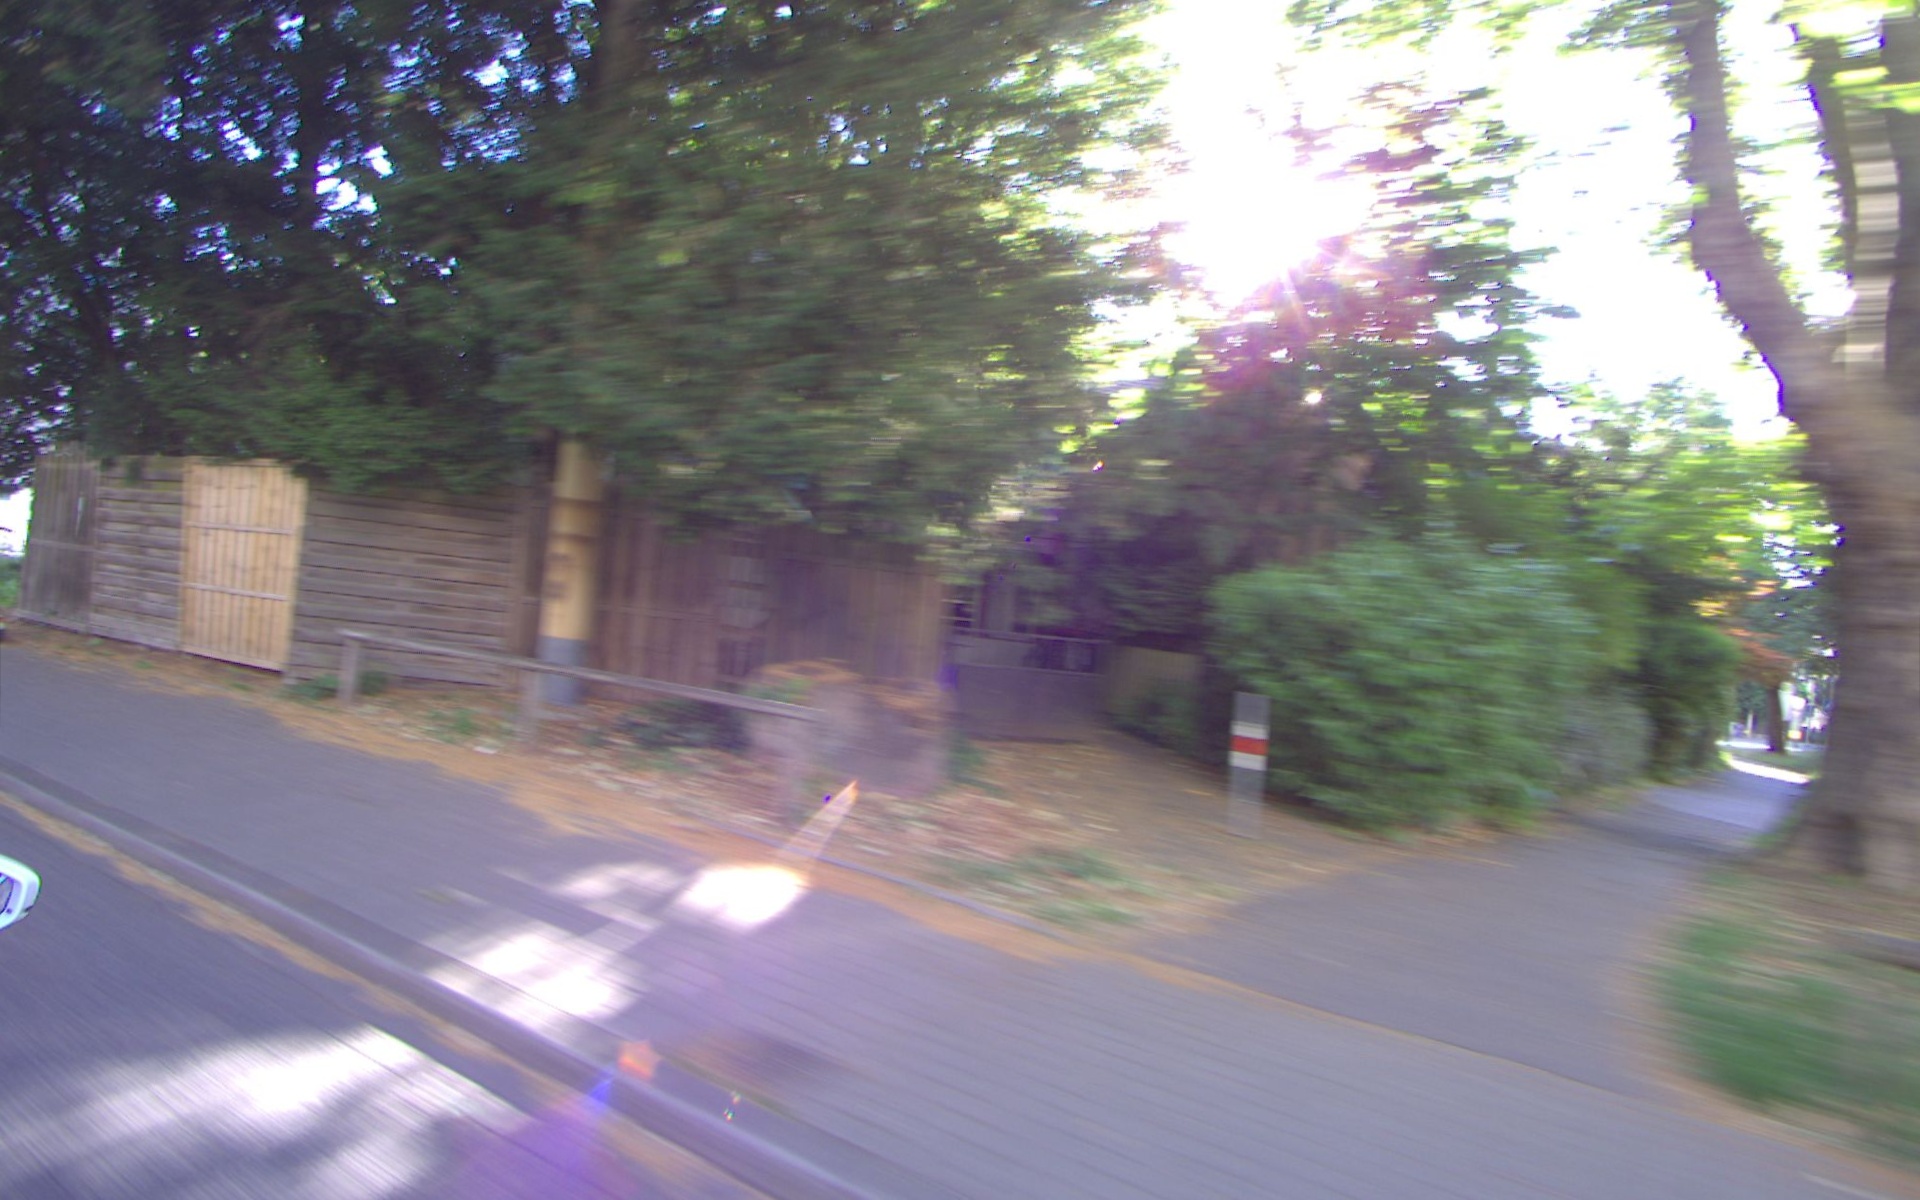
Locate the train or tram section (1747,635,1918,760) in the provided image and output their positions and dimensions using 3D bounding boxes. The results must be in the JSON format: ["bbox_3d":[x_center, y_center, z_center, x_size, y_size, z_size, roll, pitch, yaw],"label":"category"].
[{"bbox_3d":[31.032,3.618,36.264,2.802,3.641,9.855,5,-4,32],"label":"train or tram section"}]

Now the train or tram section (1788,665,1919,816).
[{"bbox_3d":[26.024,4.010,28.233,2.752,3.558,9.259,5,-4,32],"label":"train or tram section"}]

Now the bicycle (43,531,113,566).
[{"bbox_3d":[-35.390,-2.049,40.396,1.898,1.080,0.613,8,-3,-22],"label":"bicycle"}]

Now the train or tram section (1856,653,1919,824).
[{"bbox_3d":[21.269,2.976,20.428,2.752,3.558,9.258,5,-4,32],"label":"train or tram section"}]

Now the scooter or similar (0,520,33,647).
[{"bbox_3d":[-9.774,-0.202,10.016,1.238,1.217,0.438,5,2,32],"label":"scooter or similar"}]
